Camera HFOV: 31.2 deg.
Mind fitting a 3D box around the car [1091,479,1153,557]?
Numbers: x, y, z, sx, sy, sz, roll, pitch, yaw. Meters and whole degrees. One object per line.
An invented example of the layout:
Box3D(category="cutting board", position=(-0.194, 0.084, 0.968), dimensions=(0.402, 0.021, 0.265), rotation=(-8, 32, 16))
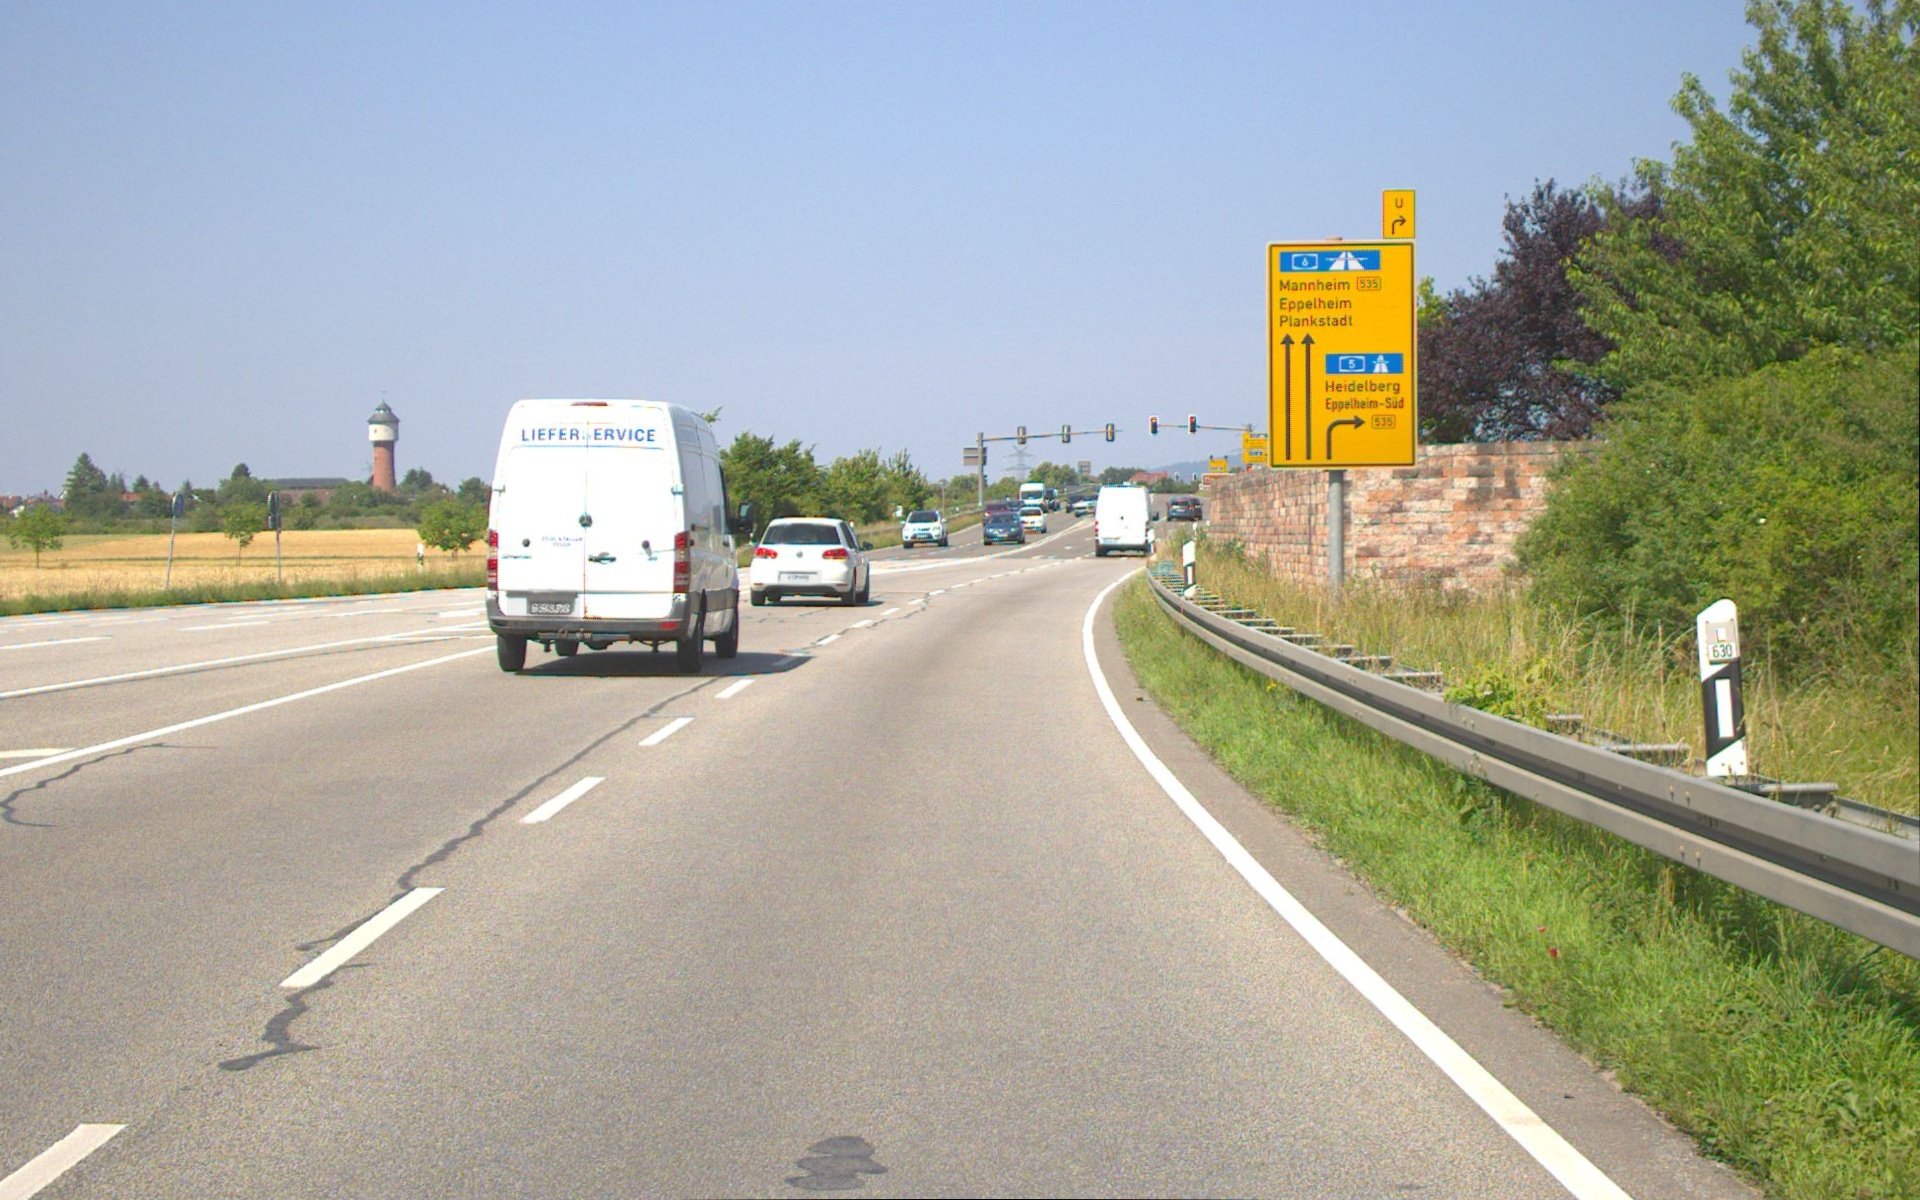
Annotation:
Box3D(category="car", position=(5.879, -2.936, 124.504), dimensions=(1.994, 2.686, 4.969), rotation=(1, 0, 5))

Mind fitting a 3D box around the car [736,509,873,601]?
Box3D(category="car", position=(-2.595, -0.787, 58.386), dimensions=(1.800, 1.503, 4.195), rotation=(0, 1, 5))

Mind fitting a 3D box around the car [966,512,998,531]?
Box3D(category="car", position=(1.450, -5.146, 224.913), dimensions=(1.870, 1.251, 4.280), rotation=(0, 1, 4))

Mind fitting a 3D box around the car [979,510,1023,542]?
Box3D(category="car", position=(1.890, -3.383, 157.213), dimensions=(1.749, 1.437, 4.081), rotation=(0, 1, 4))

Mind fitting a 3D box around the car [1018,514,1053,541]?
Box3D(category="car", position=(4.248, -4.054, 192.934), dimensions=(1.749, 1.437, 4.081), rotation=(1, 1, 4))

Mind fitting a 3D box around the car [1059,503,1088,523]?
Box3D(category="car", position=(8.509, -6.508, 257.056), dimensions=(1.858, 1.418, 3.999), rotation=(-1, 1, 6))

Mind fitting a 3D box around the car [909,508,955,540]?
Box3D(category="car", position=(-1.265, -3.485, 158.121), dimensions=(1.749, 1.437, 4.081), rotation=(0, 1, 4))

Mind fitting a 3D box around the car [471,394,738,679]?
Box3D(category="car", position=(-3.501, -0.657, 34.887), dimensions=(2.039, 2.611, 5.741), rotation=(1, 1, 0))
